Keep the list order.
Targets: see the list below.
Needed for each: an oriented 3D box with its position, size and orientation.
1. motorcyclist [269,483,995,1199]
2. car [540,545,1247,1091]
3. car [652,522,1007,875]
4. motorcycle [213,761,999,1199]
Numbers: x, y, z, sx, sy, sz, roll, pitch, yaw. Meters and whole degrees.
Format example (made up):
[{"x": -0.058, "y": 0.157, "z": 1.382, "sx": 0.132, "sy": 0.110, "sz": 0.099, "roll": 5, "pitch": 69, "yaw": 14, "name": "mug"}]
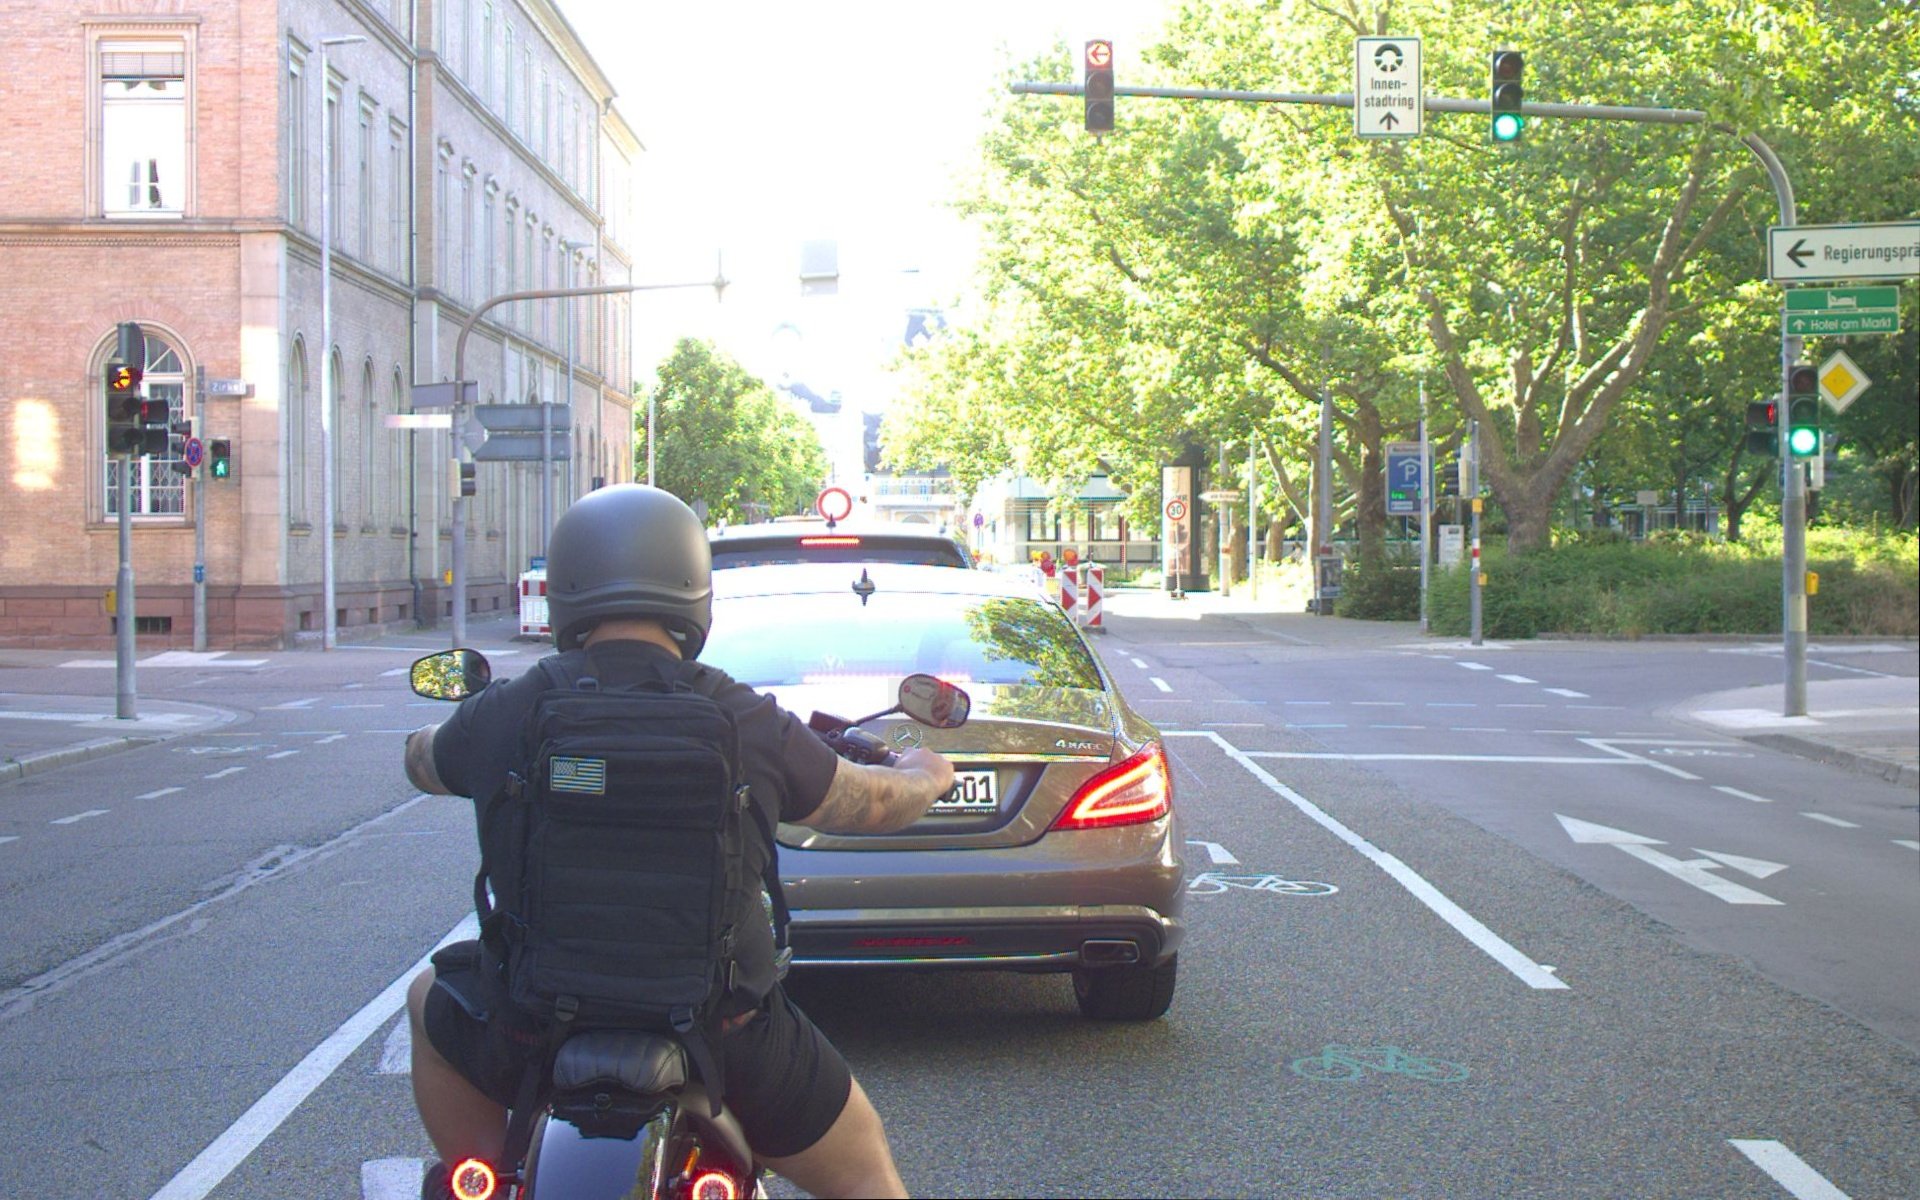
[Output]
[{"x": -0.455, "y": 0.623, "z": 5.404, "sx": 0.989, "sy": 1.591, "sz": 1.404, "roll": 0, "pitch": 1, "yaw": -1, "name": "motorcyclist"}, {"x": -0.434, "y": 0.556, "z": 11.598, "sx": 1.945, "sy": 1.468, "sz": 4.363, "roll": 0, "pitch": 1, "yaw": -7, "name": "car"}, {"x": -0.640, "y": 0.406, "z": 17.764, "sx": 1.612, "sy": 1.602, "sz": 4.329, "roll": 0, "pitch": 1, "yaw": -1, "name": "car"}, {"x": -0.459, "y": 0.878, "z": 5.562, "sx": 0.989, "sy": 1.075, "sz": 2.452, "roll": 0, "pitch": 1, "yaw": -1, "name": "motorcycle"}]
